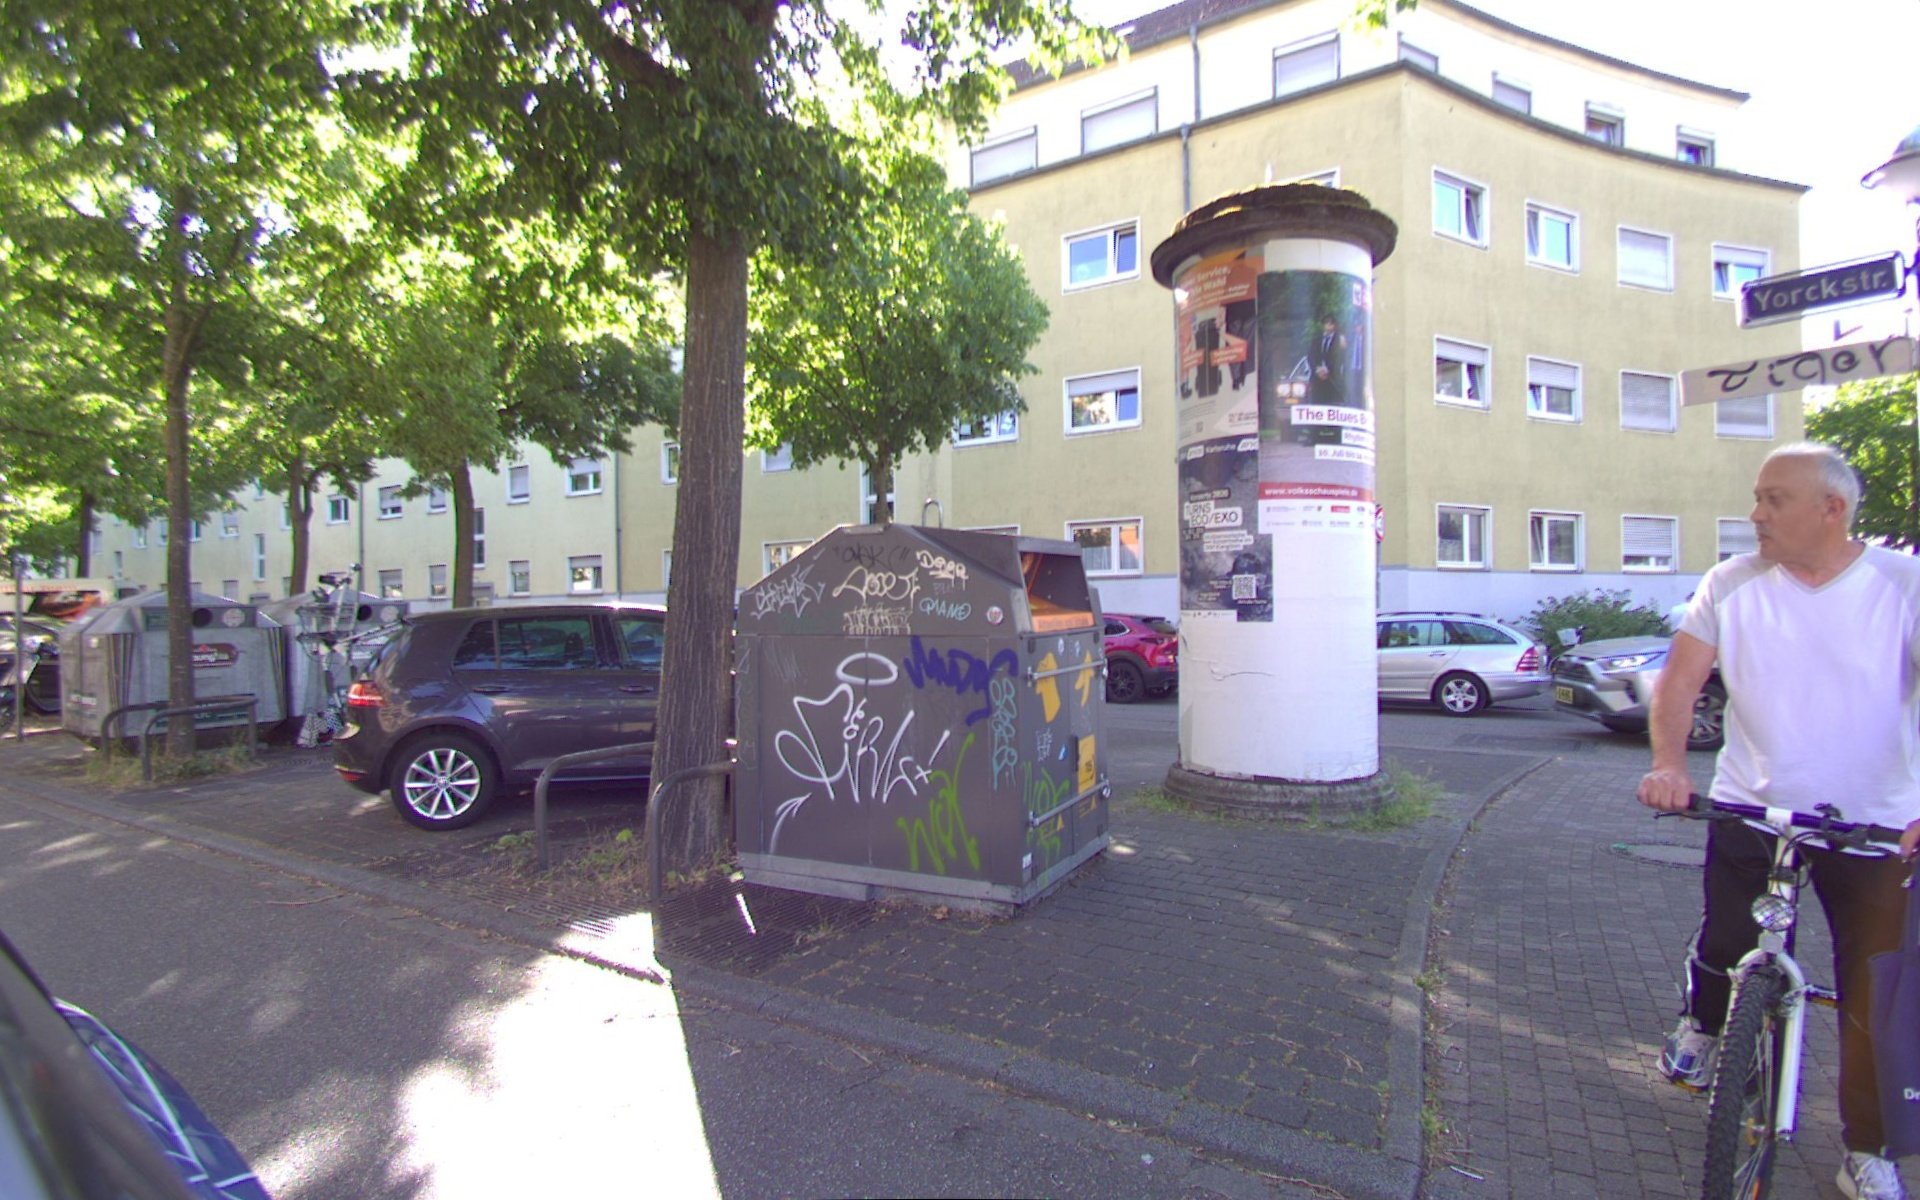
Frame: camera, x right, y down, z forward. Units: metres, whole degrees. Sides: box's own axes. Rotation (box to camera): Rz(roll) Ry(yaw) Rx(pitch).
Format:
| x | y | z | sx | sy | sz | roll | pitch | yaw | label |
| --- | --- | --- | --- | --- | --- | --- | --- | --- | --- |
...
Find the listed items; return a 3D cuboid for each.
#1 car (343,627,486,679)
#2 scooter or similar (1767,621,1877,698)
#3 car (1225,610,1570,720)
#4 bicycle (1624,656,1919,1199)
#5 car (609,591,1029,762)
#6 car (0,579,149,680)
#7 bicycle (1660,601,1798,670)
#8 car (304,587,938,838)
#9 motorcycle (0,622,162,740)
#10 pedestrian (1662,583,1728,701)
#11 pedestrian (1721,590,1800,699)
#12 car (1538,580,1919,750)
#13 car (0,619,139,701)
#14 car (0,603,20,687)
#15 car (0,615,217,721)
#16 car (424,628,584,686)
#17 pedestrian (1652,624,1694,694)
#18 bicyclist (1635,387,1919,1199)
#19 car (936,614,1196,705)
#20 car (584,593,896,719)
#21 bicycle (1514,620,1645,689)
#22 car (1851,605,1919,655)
| x | y | z | sx | sy | sz | roll | pitch | yaw | label |
| --- | --- | --- | --- | --- | --- | --- | --- | --- | --- |
| -16.481 | 1.571 | 30.528 | 4.375 | 1.450 | 2.020 | -2 | -2 | 34 | car |
| 12.648 | 0.861 | 14.887 | 0.890 | 1.030 | 0.914 | -2 | 2 | 14 | scooter or similar |
| 6.419 | 0.910 | 15.073 | 4.477 | 1.422 | 1.713 | -2 | -2 | 34 | car |
| 2.198 | 0.787 | 2.470 | 0.764 | 1.207 | 1.845 | -2 | -1 | 39 | bicycle |
| -1.471 | 0.691 | 10.342 | 3.931 | 1.484 | 1.765 | -1 | -2 | -17 | car |
| -23.975 | 0.754 | 25.994 | 4.515 | 2.509 | 1.993 | 0 | -1 | -23 | car |
| 12.816 | 0.596 | 16.902 | 1.779 | 1.116 | 0.499 | -1 | -1 | 9 | bicycle |
| -2.309 | 0.690 | 7.482 | 3.932 | 1.484 | 1.765 | -1 | -1 | -16 | car |
| -11.176 | 0.964 | 12.671 | 0.721 | 1.358 | 1.791 | -1 | -1 | 15 | motorcycle |
| 10.959 | 0.617 | 15.106 | 0.603 | 1.705 | 0.552 | -2 | 2 | 14 | pedestrian |
| 11.854 | 0.649 | 15.005 | 0.690 | 1.535 | 0.647 | -2 | 2 | 14 | pedestrian |
| 8.946 | 0.651 | 10.684 | 4.562 | 1.642 | 1.728 | -1 | -1 | 8 | car |
| -18.295 | 1.131 | 19.118 | 3.931 | 1.464 | 1.829 | -1 | -1 | -18 | car |
| -23.873 | 1.048 | 22.513 | 3.931 | 1.913 | 1.829 | -1 | -1 | -18 | car |
| -13.751 | 0.993 | 15.086 | 3.931 | 1.452 | 1.829 | -1 | -1 | -18 | car |
| -12.590 | 1.534 | 27.885 | 4.375 | 1.450 | 2.020 | -2 | -2 | 34 | car |
| 11.034 | 0.909 | 15.667 | 0.403 | 1.047 | 0.375 | -2 | 2 | 14 | pedestrian |
| 2.062 | 0.443 | 2.306 | 0.764 | 1.709 | 0.801 | -2 | -1 | 39 | bicyclist |
| 1.840 | 1.019 | 18.211 | 4.375 | 1.450 | 1.715 | -2 | -2 | 34 | car |
| -2.900 | 0.696 | 13.974 | 1.759 | 1.484 | 3.945 | -2 | -2 | 41 | car |
| 10.432 | 0.915 | 17.107 | 1.789 | 1.116 | 0.496 | -2 | -1 | 24 | bicycle |
| 28.405 | 0.855 | 29.207 | 1.779 | 1.422 | 3.999 | -2 | -1 | 0 | car |
